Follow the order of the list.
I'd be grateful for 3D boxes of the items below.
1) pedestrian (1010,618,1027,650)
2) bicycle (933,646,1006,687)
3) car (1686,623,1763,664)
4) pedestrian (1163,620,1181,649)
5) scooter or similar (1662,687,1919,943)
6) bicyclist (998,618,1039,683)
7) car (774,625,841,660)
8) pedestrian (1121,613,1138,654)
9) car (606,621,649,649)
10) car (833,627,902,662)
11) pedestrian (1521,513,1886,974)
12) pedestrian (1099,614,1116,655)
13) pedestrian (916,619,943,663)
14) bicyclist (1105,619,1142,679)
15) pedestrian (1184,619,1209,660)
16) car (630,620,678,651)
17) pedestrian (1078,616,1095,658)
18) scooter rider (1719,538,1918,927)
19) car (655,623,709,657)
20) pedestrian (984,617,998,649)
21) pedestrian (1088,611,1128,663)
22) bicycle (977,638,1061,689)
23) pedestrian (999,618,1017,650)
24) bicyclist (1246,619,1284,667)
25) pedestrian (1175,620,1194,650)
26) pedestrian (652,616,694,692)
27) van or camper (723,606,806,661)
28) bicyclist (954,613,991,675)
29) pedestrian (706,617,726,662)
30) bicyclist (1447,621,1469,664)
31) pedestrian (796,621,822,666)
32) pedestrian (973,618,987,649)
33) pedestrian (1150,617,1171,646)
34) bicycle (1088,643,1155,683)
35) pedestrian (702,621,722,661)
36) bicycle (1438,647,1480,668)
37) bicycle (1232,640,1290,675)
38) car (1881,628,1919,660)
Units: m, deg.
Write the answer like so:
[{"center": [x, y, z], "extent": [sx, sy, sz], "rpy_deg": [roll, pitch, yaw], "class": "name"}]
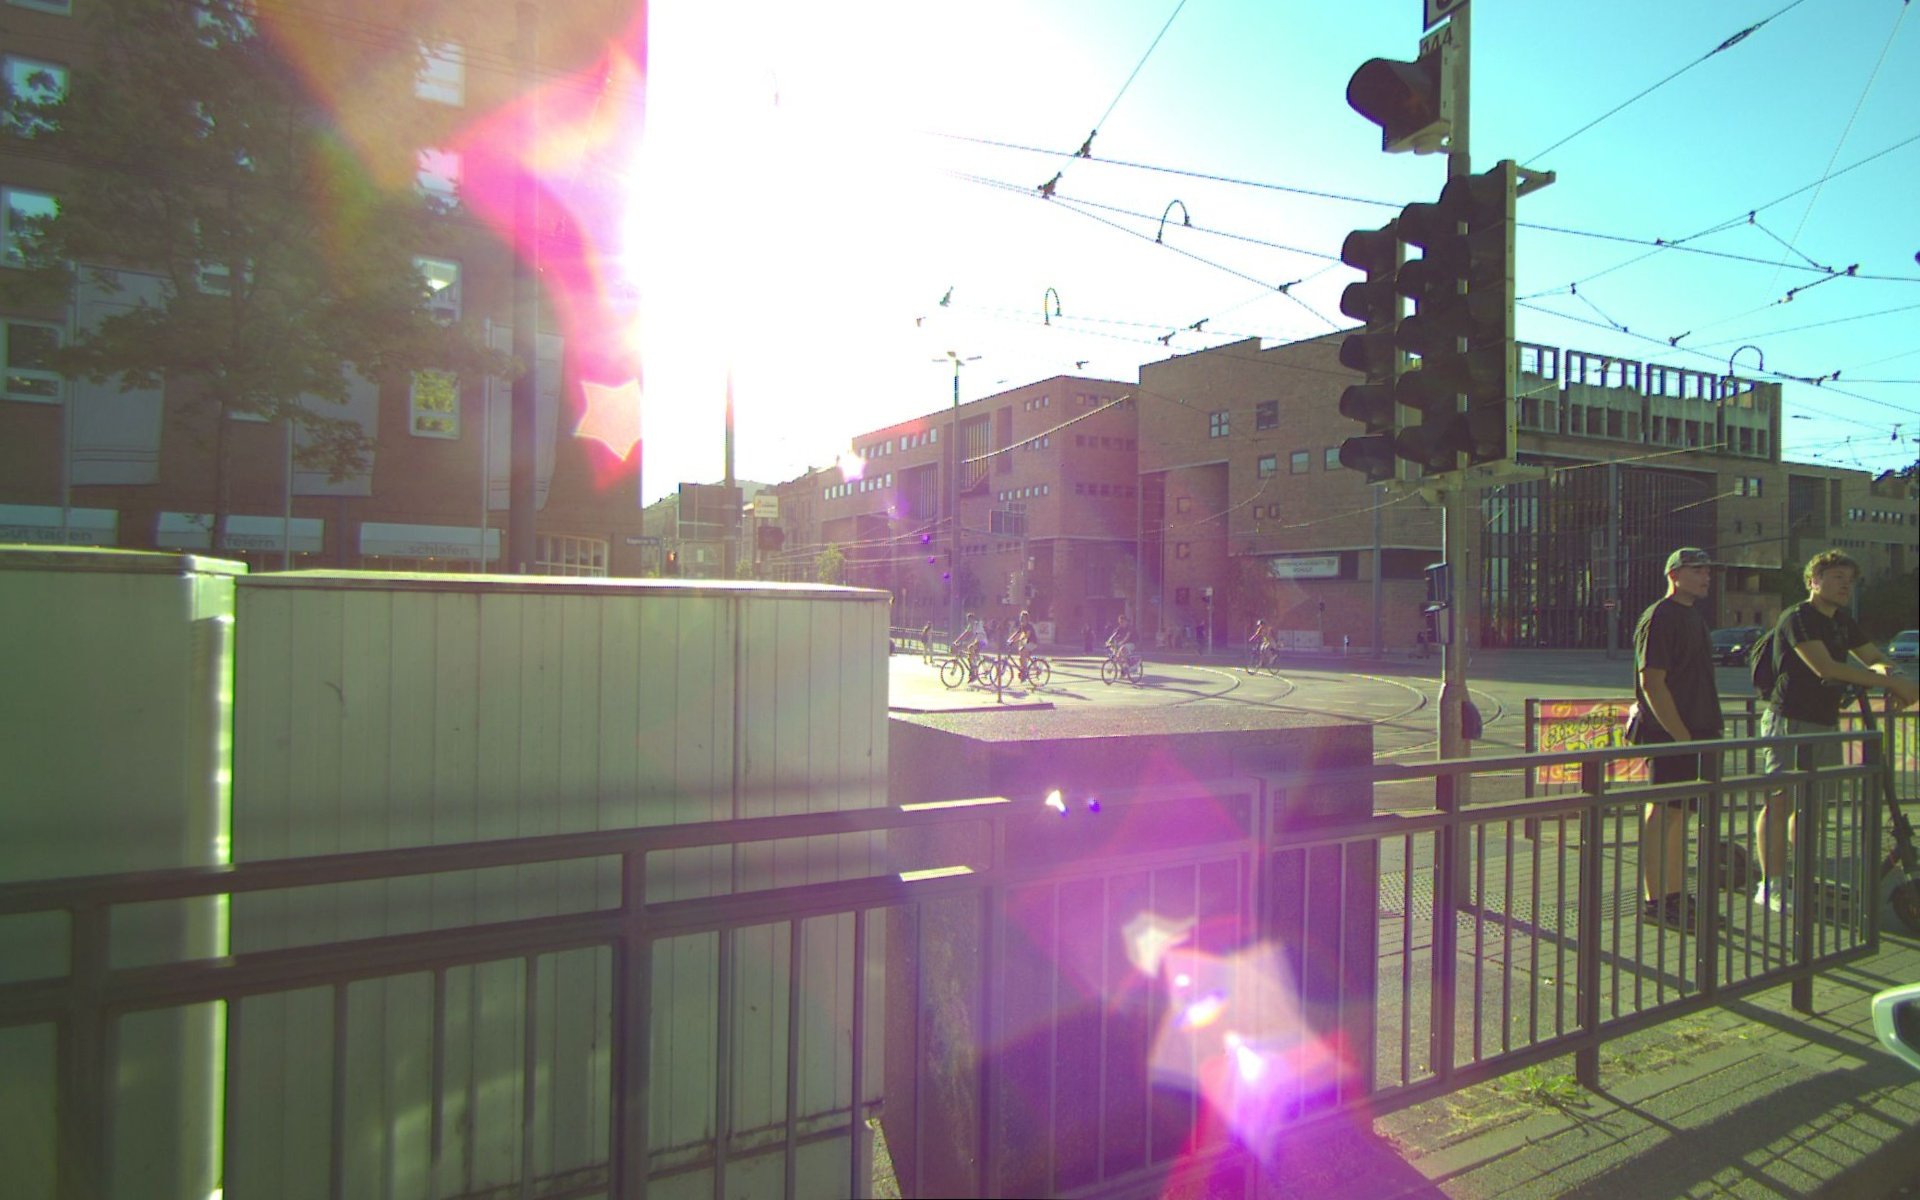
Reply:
[{"center": [3.753, 2.166, 64.574], "extent": [0.742, 2.010, 0.780], "rpy_deg": [1, -1, -32], "class": "pedestrian"}, {"center": [0.254, 1.722, 26.090], "extent": [1.881, 1.011, 0.649], "rpy_deg": [1, -2, -33], "class": "bicycle"}, {"center": [35.522, 1.982, 46.637], "extent": [3.964, 1.786, 1.854], "rpy_deg": [1, 0, -37], "class": "car"}, {"center": [15.140, 2.470, 71.743], "extent": [0.841, 2.079, 1.001], "rpy_deg": [1, -1, -32], "class": "pedestrian"}, {"center": [4.478, 1.044, 5.227], "extent": [0.639, 1.095, 1.199], "rpy_deg": [1, -1, -25], "class": "scooter or similar"}, {"center": [1.476, 1.257, 25.428], "extent": [0.750, 1.581, 0.678], "rpy_deg": [-1, 0, -30], "class": "bicyclist"}, {"center": [-7.803, 2.149, 51.180], "extent": [1.978, 1.709, 3.965], "rpy_deg": [1, -2, -33], "class": "car"}, {"center": [8.603, 1.688, 50.969], "extent": [0.603, 2.040, 0.731], "rpy_deg": [0, -1, 30], "class": "pedestrian"}, {"center": [-21.594, 2.248, 65.070], "extent": [1.738, 1.750, 3.965], "rpy_deg": [1, -2, -32], "class": "car"}, {"center": [-4.813, 2.242, 51.804], "extent": [1.978, 1.709, 3.965], "rpy_deg": [1, -2, -33], "class": "car"}, {"center": [3.547, 0.612, 4.883], "extent": [0.843, 1.908, 1.164], "rpy_deg": [1, -1, -25], "class": "pedestrian"}, {"center": [7.551, 1.760, 51.351], "extent": [0.603, 2.040, 0.731], "rpy_deg": [0, -1, 30], "class": "pedestrian"}, {"center": [-1.268, 1.700, 41.563], "extent": [0.860, 1.775, 0.670], "rpy_deg": [1, -2, -39], "class": "pedestrian"}, {"center": [4.411, 1.303, 27.055], "extent": [0.752, 1.590, 0.656], "rpy_deg": [1, -2, -37], "class": "bicyclist"}, {"center": [11.475, 1.917, 48.756], "extent": [0.866, 1.927, 0.718], "rpy_deg": [2, 0, -33], "class": "pedestrian"}, {"center": [-18.267, 2.082, 59.888], "extent": [1.738, 1.750, 3.965], "rpy_deg": [1, -2, -32], "class": "car"}, {"center": [6.185, 1.799, 49.058], "extent": [0.603, 2.040, 0.731], "rpy_deg": [0, -1, 32], "class": "pedestrian"}, {"center": [4.492, 0.657, 5.264], "extent": [0.670, 1.877, 0.564], "rpy_deg": [3, -2, -25], "class": "scooter rider"}, {"center": [-15.182, 2.159, 54.763], "extent": [1.739, 1.750, 3.963], "rpy_deg": [1, -2, -33], "class": "car"}, {"center": [2.038, 2.161, 66.016], "extent": [0.644, 2.040, 0.780], "rpy_deg": [1, -1, -32], "class": "pedestrian"}, {"center": [5.910, 1.472, 40.136], "extent": [1.193, 2.040, 1.028], "rpy_deg": [2, 0, -30], "class": "pedestrian"}, {"center": [1.507, 1.588, 25.438], "extent": [2.087, 1.157, 0.681], "rpy_deg": [-1, 0, -32], "class": "bicycle"}, {"center": [3.062, 2.143, 64.090], "extent": [0.917, 2.010, 0.780], "rpy_deg": [1, -1, -32], "class": "pedestrian"}, {"center": [9.720, 1.356, 32.048], "extent": [1.022, 1.494, 0.649], "rpy_deg": [2, -1, -35], "class": "bicyclist"}, {"center": [15.776, 2.430, 70.564], "extent": [0.841, 2.079, 1.001], "rpy_deg": [1, -1, -32], "class": "pedestrian"}, {"center": [-7.135, 1.336, 24.979], "extent": [0.942, 1.822, 0.990], "rpy_deg": [2, 0, -16], "class": "pedestrian"}, {"center": [-9.371, 1.571, 47.927], "extent": [1.981, 2.451, 4.980], "rpy_deg": [1, -2, -36], "class": "van or camper"}, {"center": [0.323, 1.133, 26.130], "extent": [0.750, 1.595, 0.657], "rpy_deg": [1, -1, -31], "class": "bicyclist"}, {"center": [-11.130, 1.788, 45.761], "extent": [0.597, 2.040, 0.848], "rpy_deg": [1, -1, -38], "class": "pedestrian"}, {"center": [19.241, 1.650, 38.830], "extent": [0.509, 1.647, 0.583], "rpy_deg": [1, -1, -35], "class": "bicyclist"}, {"center": [-6.153, 1.768, 40.958], "extent": [0.857, 1.775, 0.672], "rpy_deg": [1, -1, -30], "class": "pedestrian"}, {"center": [1.322, 2.185, 66.012], "extent": [0.607, 2.040, 0.727], "rpy_deg": [1, -1, -32], "class": "pedestrian"}, {"center": [14.094, 2.229, 70.634], "extent": [0.902, 2.040, 1.151], "rpy_deg": [1, -1, -34], "class": "pedestrian"}, {"center": [4.348, 1.680, 27.003], "extent": [1.884, 1.011, 0.688], "rpy_deg": [1, -2, -37], "class": "bicycle"}, {"center": [-11.777, 1.936, 47.675], "extent": [0.597, 1.843, 0.848], "rpy_deg": [1, -1, -38], "class": "pedestrian"}, {"center": [19.322, 2.213, 38.877], "extent": [1.948, 0.781, 0.586], "rpy_deg": [1, -2, -35], "class": "bicycle"}, {"center": [9.590, 1.823, 31.968], "extent": [1.993, 1.064, 0.647], "rpy_deg": [2, -1, -35], "class": "bicycle"}, {"center": [48.946, 2.254, 51.636], "extent": [3.962, 1.598, 1.610], "rpy_deg": [1, -2, -36], "class": "car"}]
